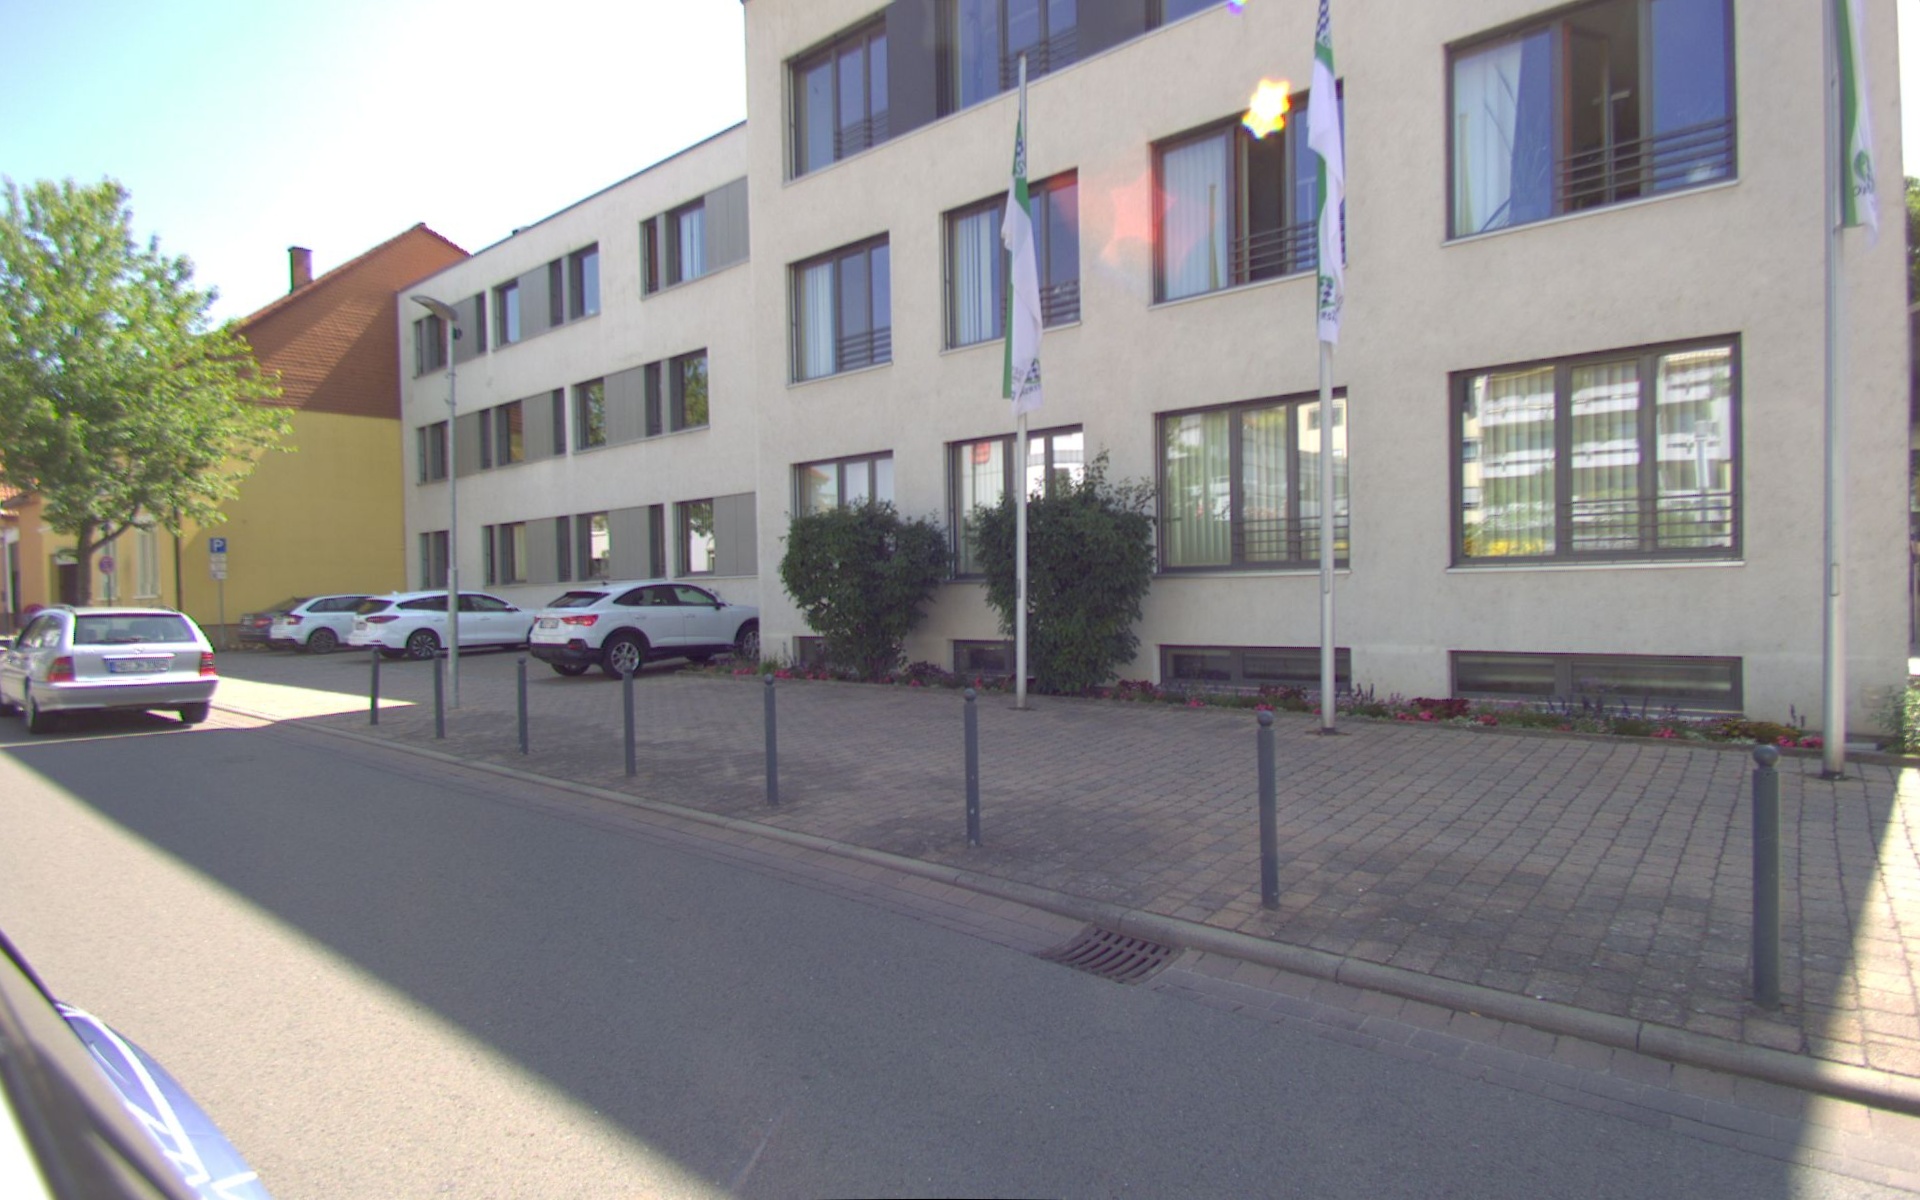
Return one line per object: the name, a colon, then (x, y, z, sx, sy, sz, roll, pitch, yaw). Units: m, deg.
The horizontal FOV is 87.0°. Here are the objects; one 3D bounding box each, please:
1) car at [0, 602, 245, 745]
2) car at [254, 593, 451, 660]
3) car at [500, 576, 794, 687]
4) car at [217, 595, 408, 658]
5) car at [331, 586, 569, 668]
car: (-10.847, 0.794, 12.814, 4.433, 1.475, 1.861, 0, -1, 40)
car: (-15.631, 0.632, 26.193, 1.805, 1.462, 3.948, -2, 1, 39)
car: (-5.318, 0.445, 17.692, 2.145, 1.565, 4.463, -1, 2, 38)
car: (-17.722, 0.681, 27.848, 1.968, 1.442, 3.952, -2, 1, 36)
car: (-11.559, 0.525, 23.198, 1.933, 1.565, 4.459, 0, 3, 40)
